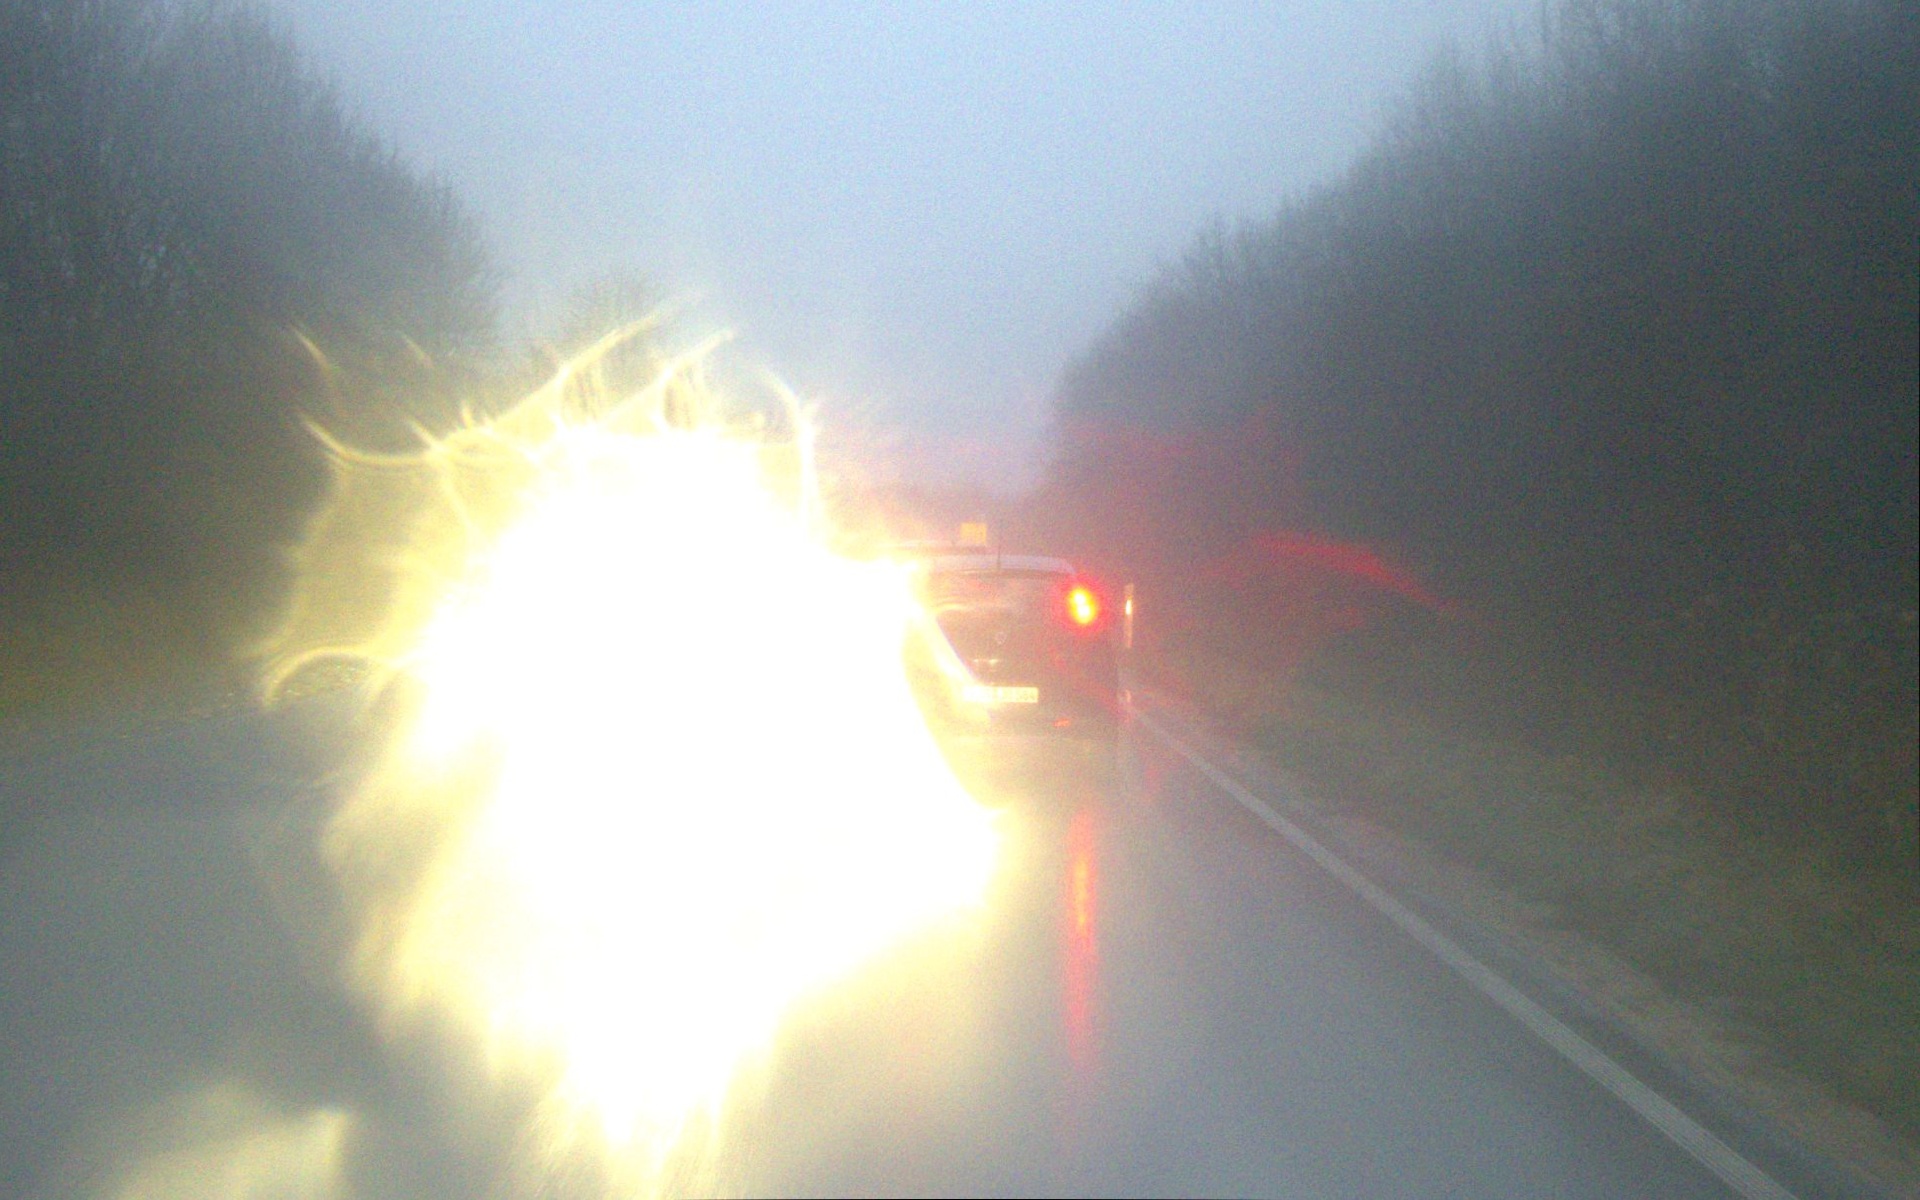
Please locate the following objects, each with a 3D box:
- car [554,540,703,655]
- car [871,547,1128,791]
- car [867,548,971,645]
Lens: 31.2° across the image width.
[{"bbox_3d":[-4.837,-0.069,50.628,1.872,1.601,4.196,0,1,-1],"label":"car"},{"bbox_3d":[0.290,0.450,25.381,1.728,1.638,4.000,1,1,1],"label":"car"},{"bbox_3d":[-0.698,-0.074,60.727,1.728,1.638,4.000,1,1,1],"label":"car"}]
